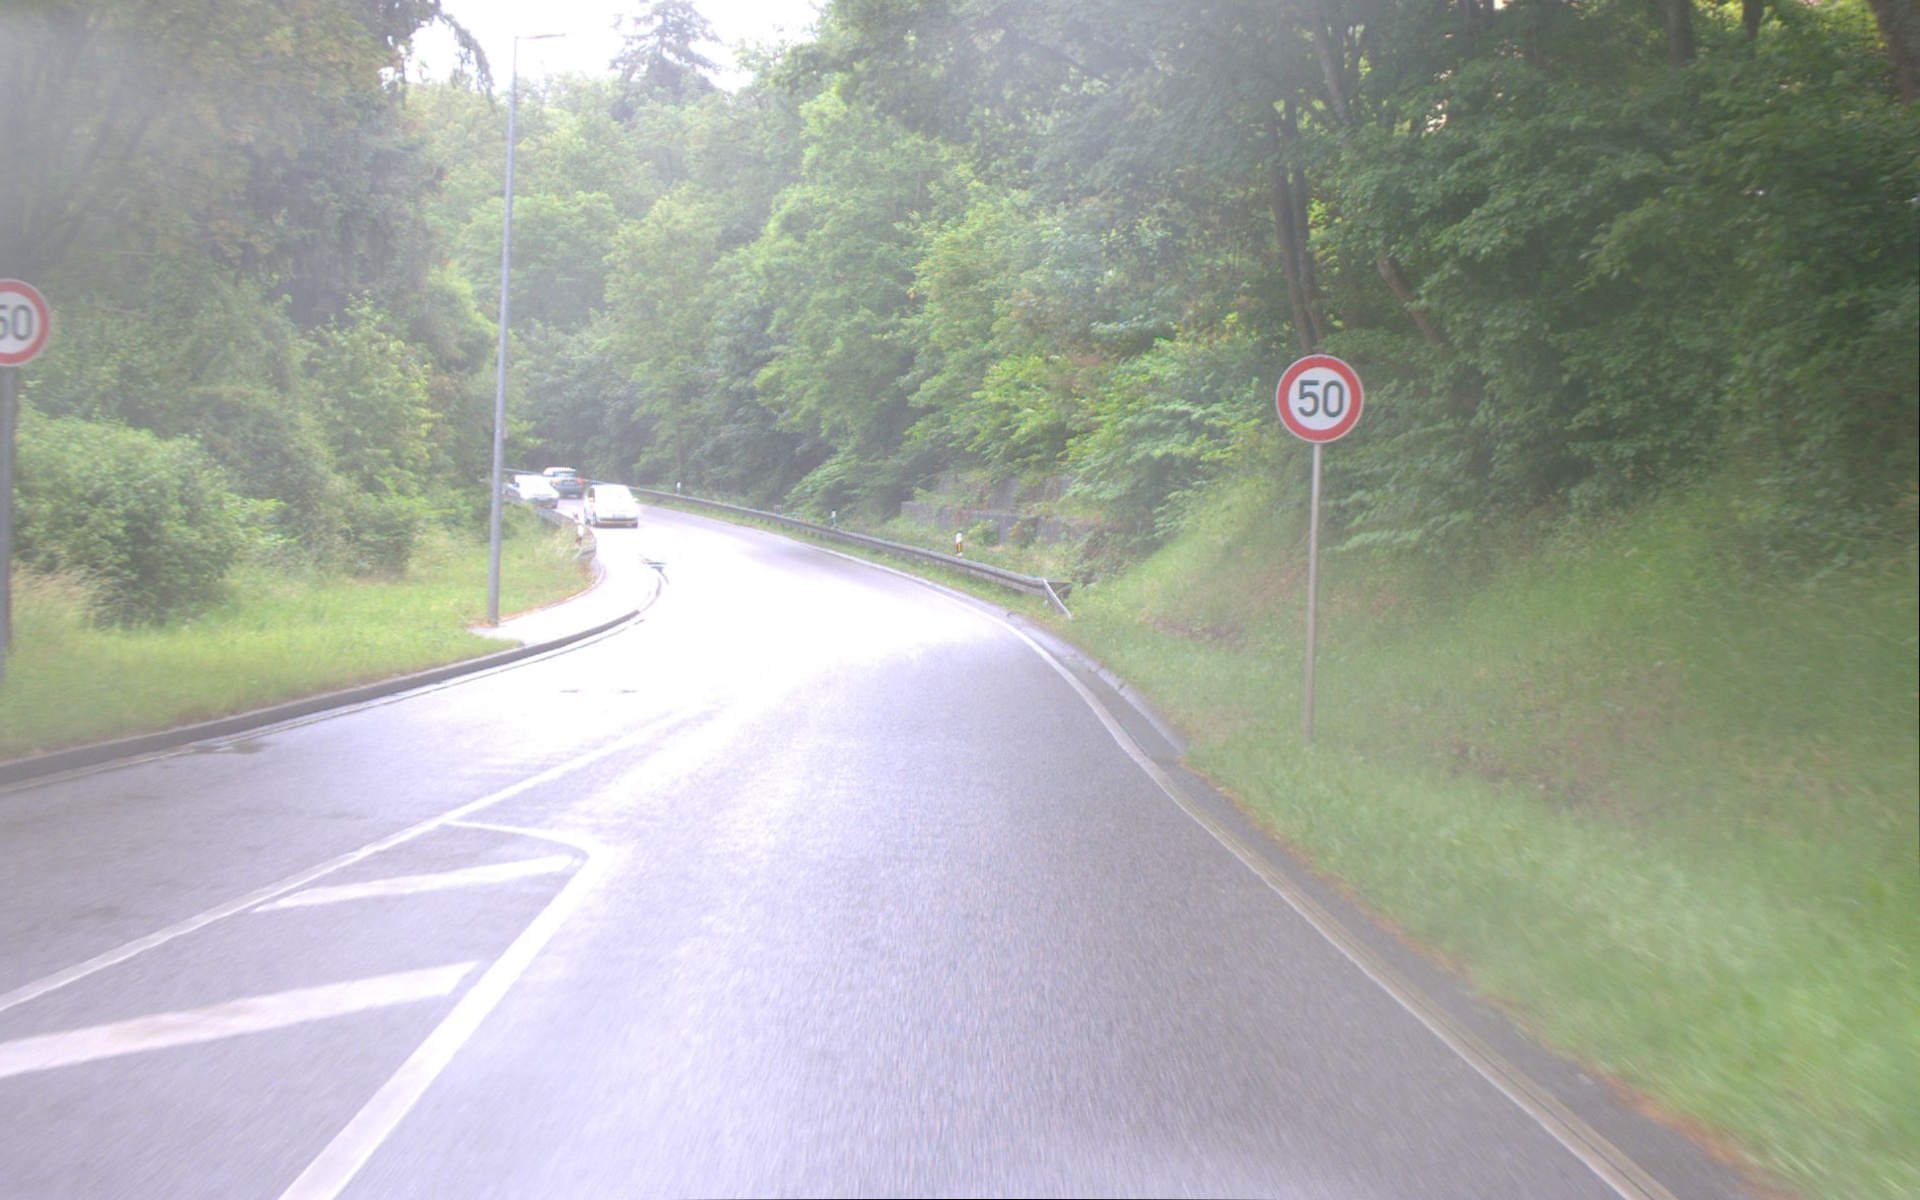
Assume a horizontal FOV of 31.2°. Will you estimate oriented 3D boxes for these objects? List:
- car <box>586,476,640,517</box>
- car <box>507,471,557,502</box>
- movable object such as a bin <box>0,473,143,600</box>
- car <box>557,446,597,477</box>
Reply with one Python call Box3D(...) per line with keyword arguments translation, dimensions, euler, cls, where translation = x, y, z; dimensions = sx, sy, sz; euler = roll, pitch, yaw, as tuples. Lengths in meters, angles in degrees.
Box3D(translation=(-14.267, -4.233, 141.038), dimensions=(1.814, 1.642, 4.132), euler=(0, 1, -11), cls="car")
Box3D(translation=(-19.841, -5.256, 159.379), dimensions=(1.814, 1.429, 4.001), euler=(0, 1, -15), cls="car")
Box3D(translation=(-15.582, -0.950, 50.928), dimensions=(1.849, 1.901, 7.895), euler=(1, 1, 30), cls="movable object such as a bin")
Box3D(translation=(-18.920, -6.816, 169.843), dimensions=(1.736, 1.505, 4.001), euler=(-1, 2, -3), cls="car")
